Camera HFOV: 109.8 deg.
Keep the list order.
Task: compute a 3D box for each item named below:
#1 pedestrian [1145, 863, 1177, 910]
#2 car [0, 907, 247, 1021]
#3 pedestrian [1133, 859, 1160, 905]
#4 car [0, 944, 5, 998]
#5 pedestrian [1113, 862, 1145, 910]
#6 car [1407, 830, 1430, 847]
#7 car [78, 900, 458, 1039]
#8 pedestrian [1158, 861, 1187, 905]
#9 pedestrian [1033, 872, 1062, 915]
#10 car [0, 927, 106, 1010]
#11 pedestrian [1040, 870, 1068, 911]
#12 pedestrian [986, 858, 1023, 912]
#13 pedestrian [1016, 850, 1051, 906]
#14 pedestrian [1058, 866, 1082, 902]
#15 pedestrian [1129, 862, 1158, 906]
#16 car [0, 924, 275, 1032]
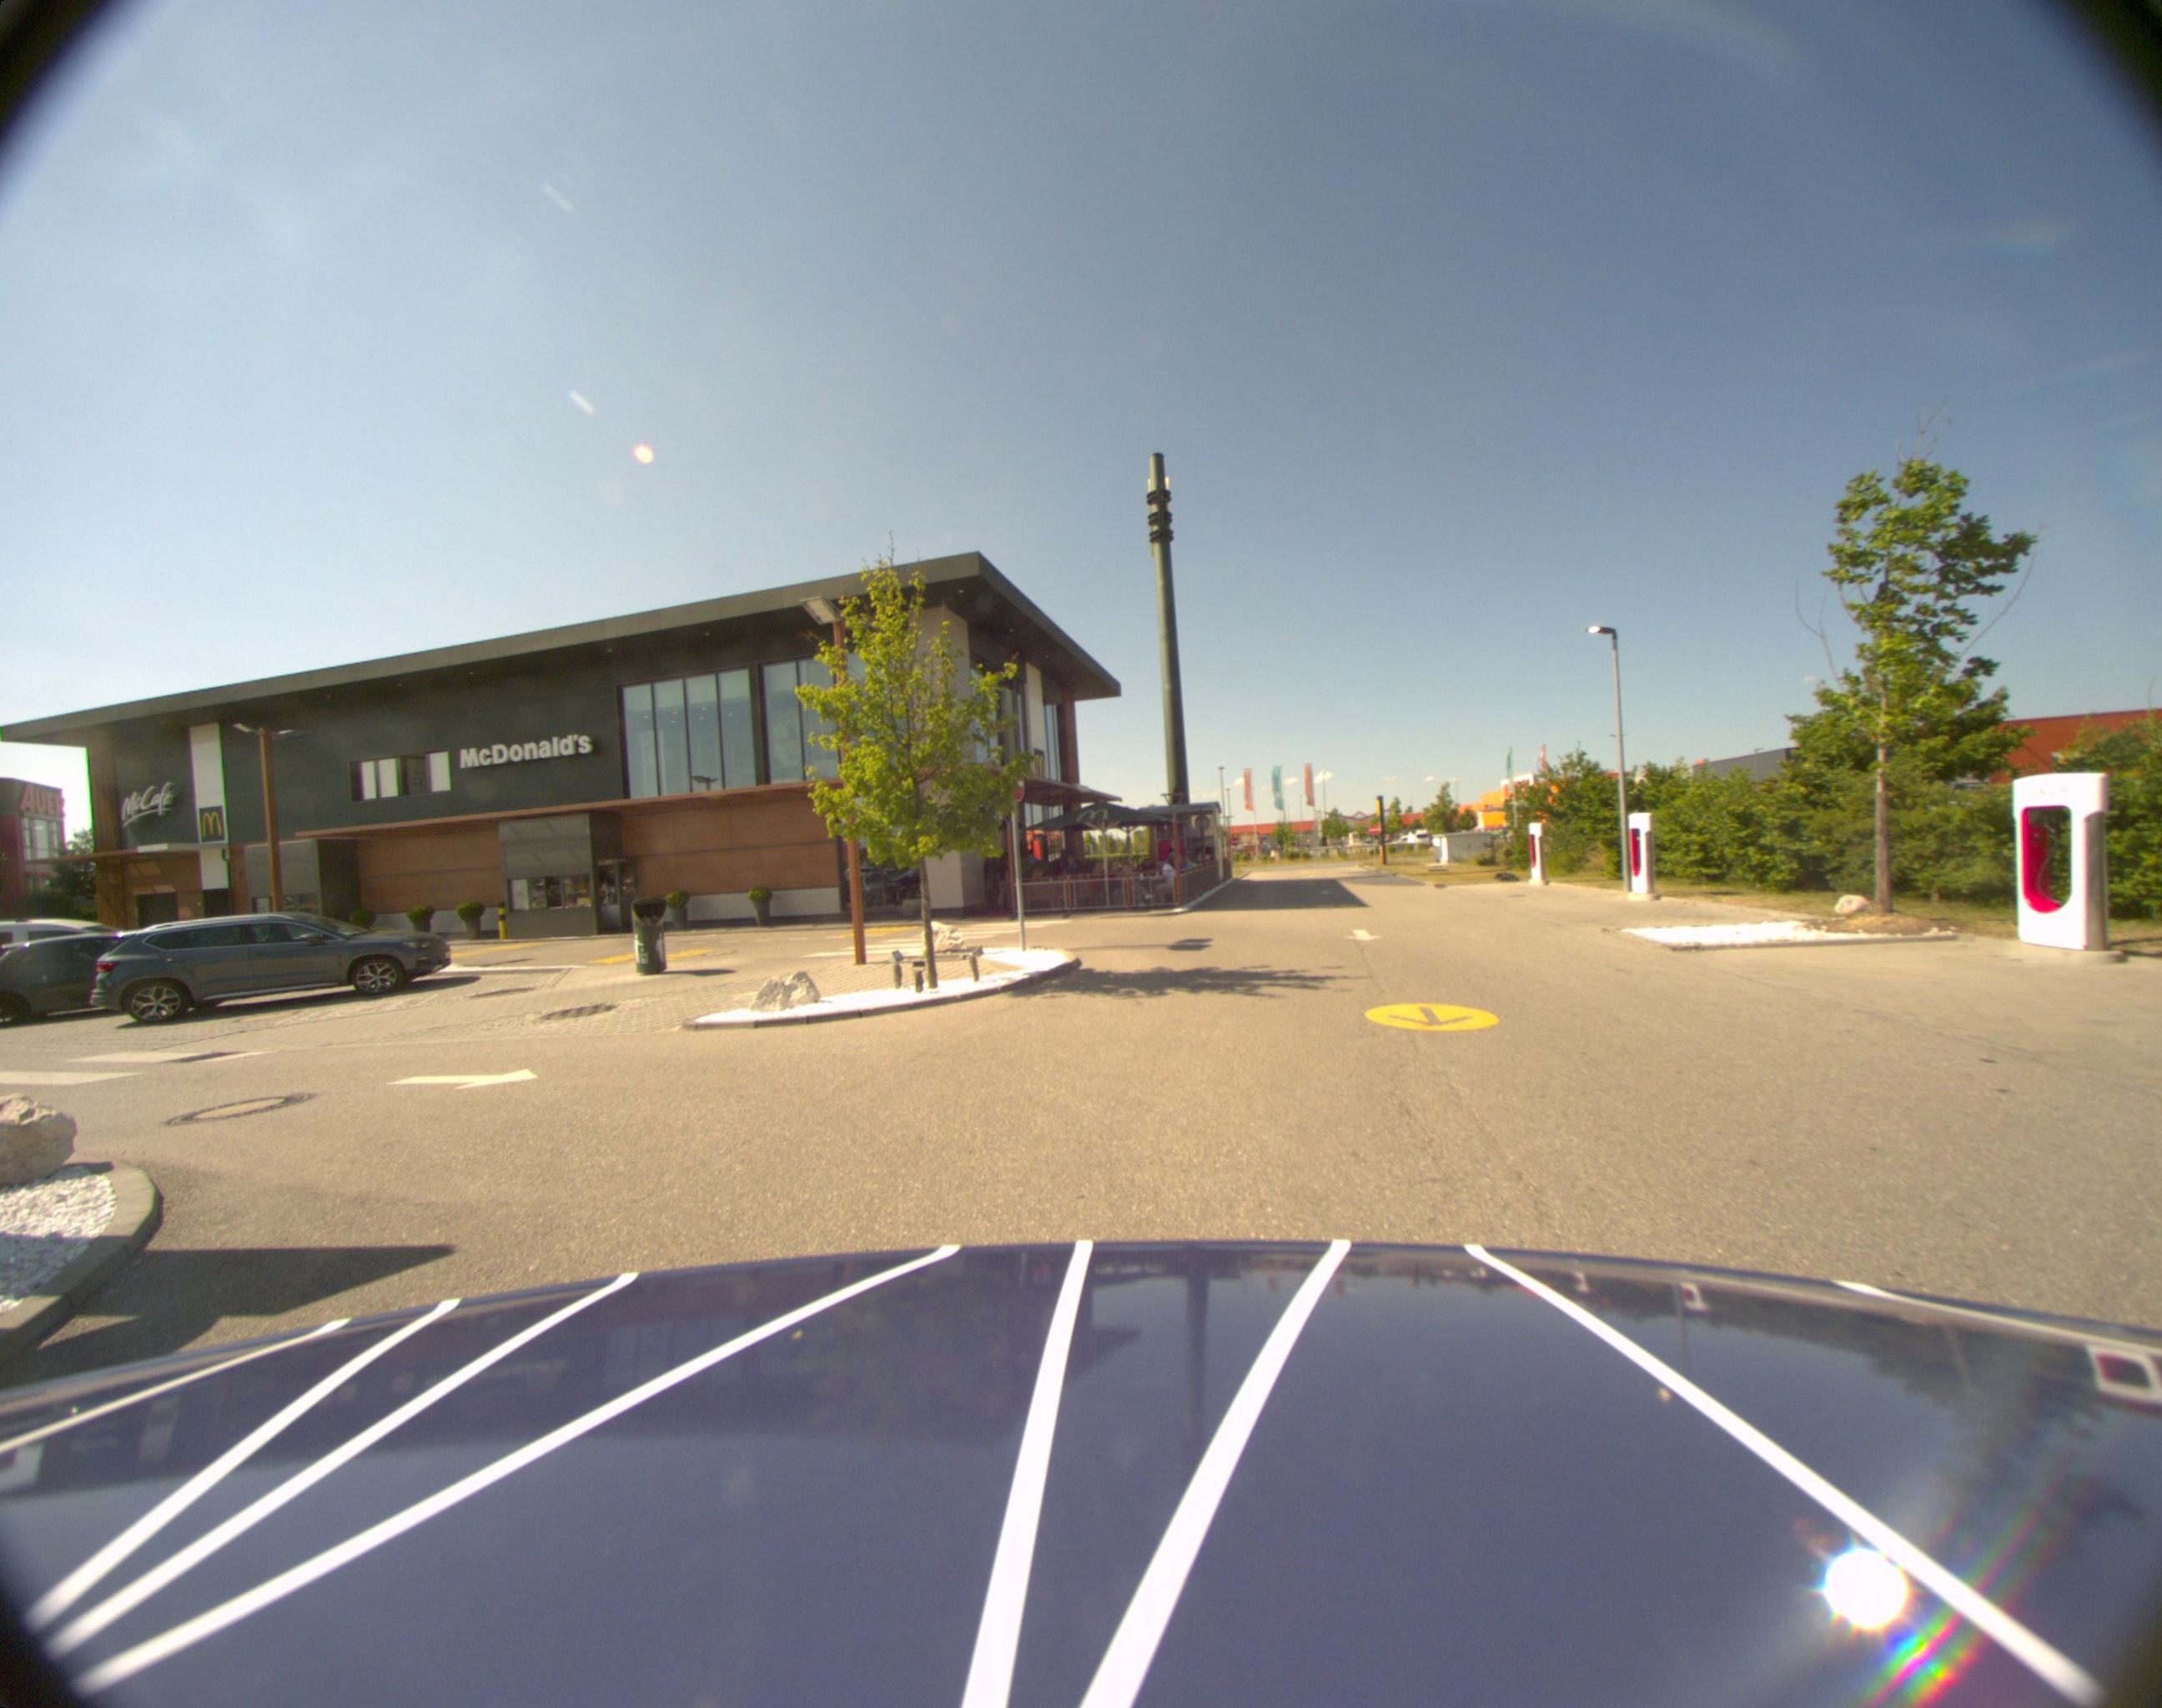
[{"bbox_3d":[2.214,0.891,20.978,0.728,1.250,0.573,-4,0,10],"label":"pedestrian"},{"bbox_3d":[-20.724,2.260,15.813,4.152,1.910,1.754,-4,0,-35],"label":"car"},{"bbox_3d":[1.863,0.805,21.635,0.633,1.250,0.524,-4,0,11],"label":"pedestrian"},{"bbox_3d":[-28.026,2.945,17.306,1.671,1.435,3.779,-4,1,44],"label":"car"},{"bbox_3d":[1.318,0.881,20.807,0.714,1.250,0.524,-4,0,11],"label":"pedestrian"},{"bbox_3d":[42.812,-1.887,96.479,1.996,2.002,4.004,-3,0,15],"label":"car"},{"bbox_3d":[-14.222,1.926,13.733,4.232,1.594,1.786,-6,3,-31],"label":"car"},{"bbox_3d":[2.703,0.848,22.405,0.728,1.250,0.573,-4,0,10],"label":"pedestrian"},{"bbox_3d":[-0.925,1.092,21.125,0.633,1.117,0.524,-4,0,11],"label":"pedestrian"},{"bbox_3d":[-24.519,2.627,16.459,3.851,1.622,1.754,-4,0,-41],"label":"car"},{"bbox_3d":[-0.772,1.042,21.800,0.633,1.117,0.524,-4,0,11],"label":"pedestrian"},{"bbox_3d":[-2.323,0.937,23.049,0.740,1.574,0.730,-4,0,25],"label":"pedestrian"},{"bbox_3d":[-1.567,0.787,25.123,0.896,1.758,0.803,-4,0,7],"label":"pedestrian"},{"bbox_3d":[-0.347,0.961,24.273,0.572,1.094,0.657,-4,0,14],"label":"pedestrian"},{"bbox_3d":[1.875,0.882,22.627,0.714,1.250,0.524,-4,0,11],"label":"pedestrian"},{"bbox_3d":[-18.021,2.271,14.413,3.420,1.473,1.564,-4,0,-36],"label":"car"}]
